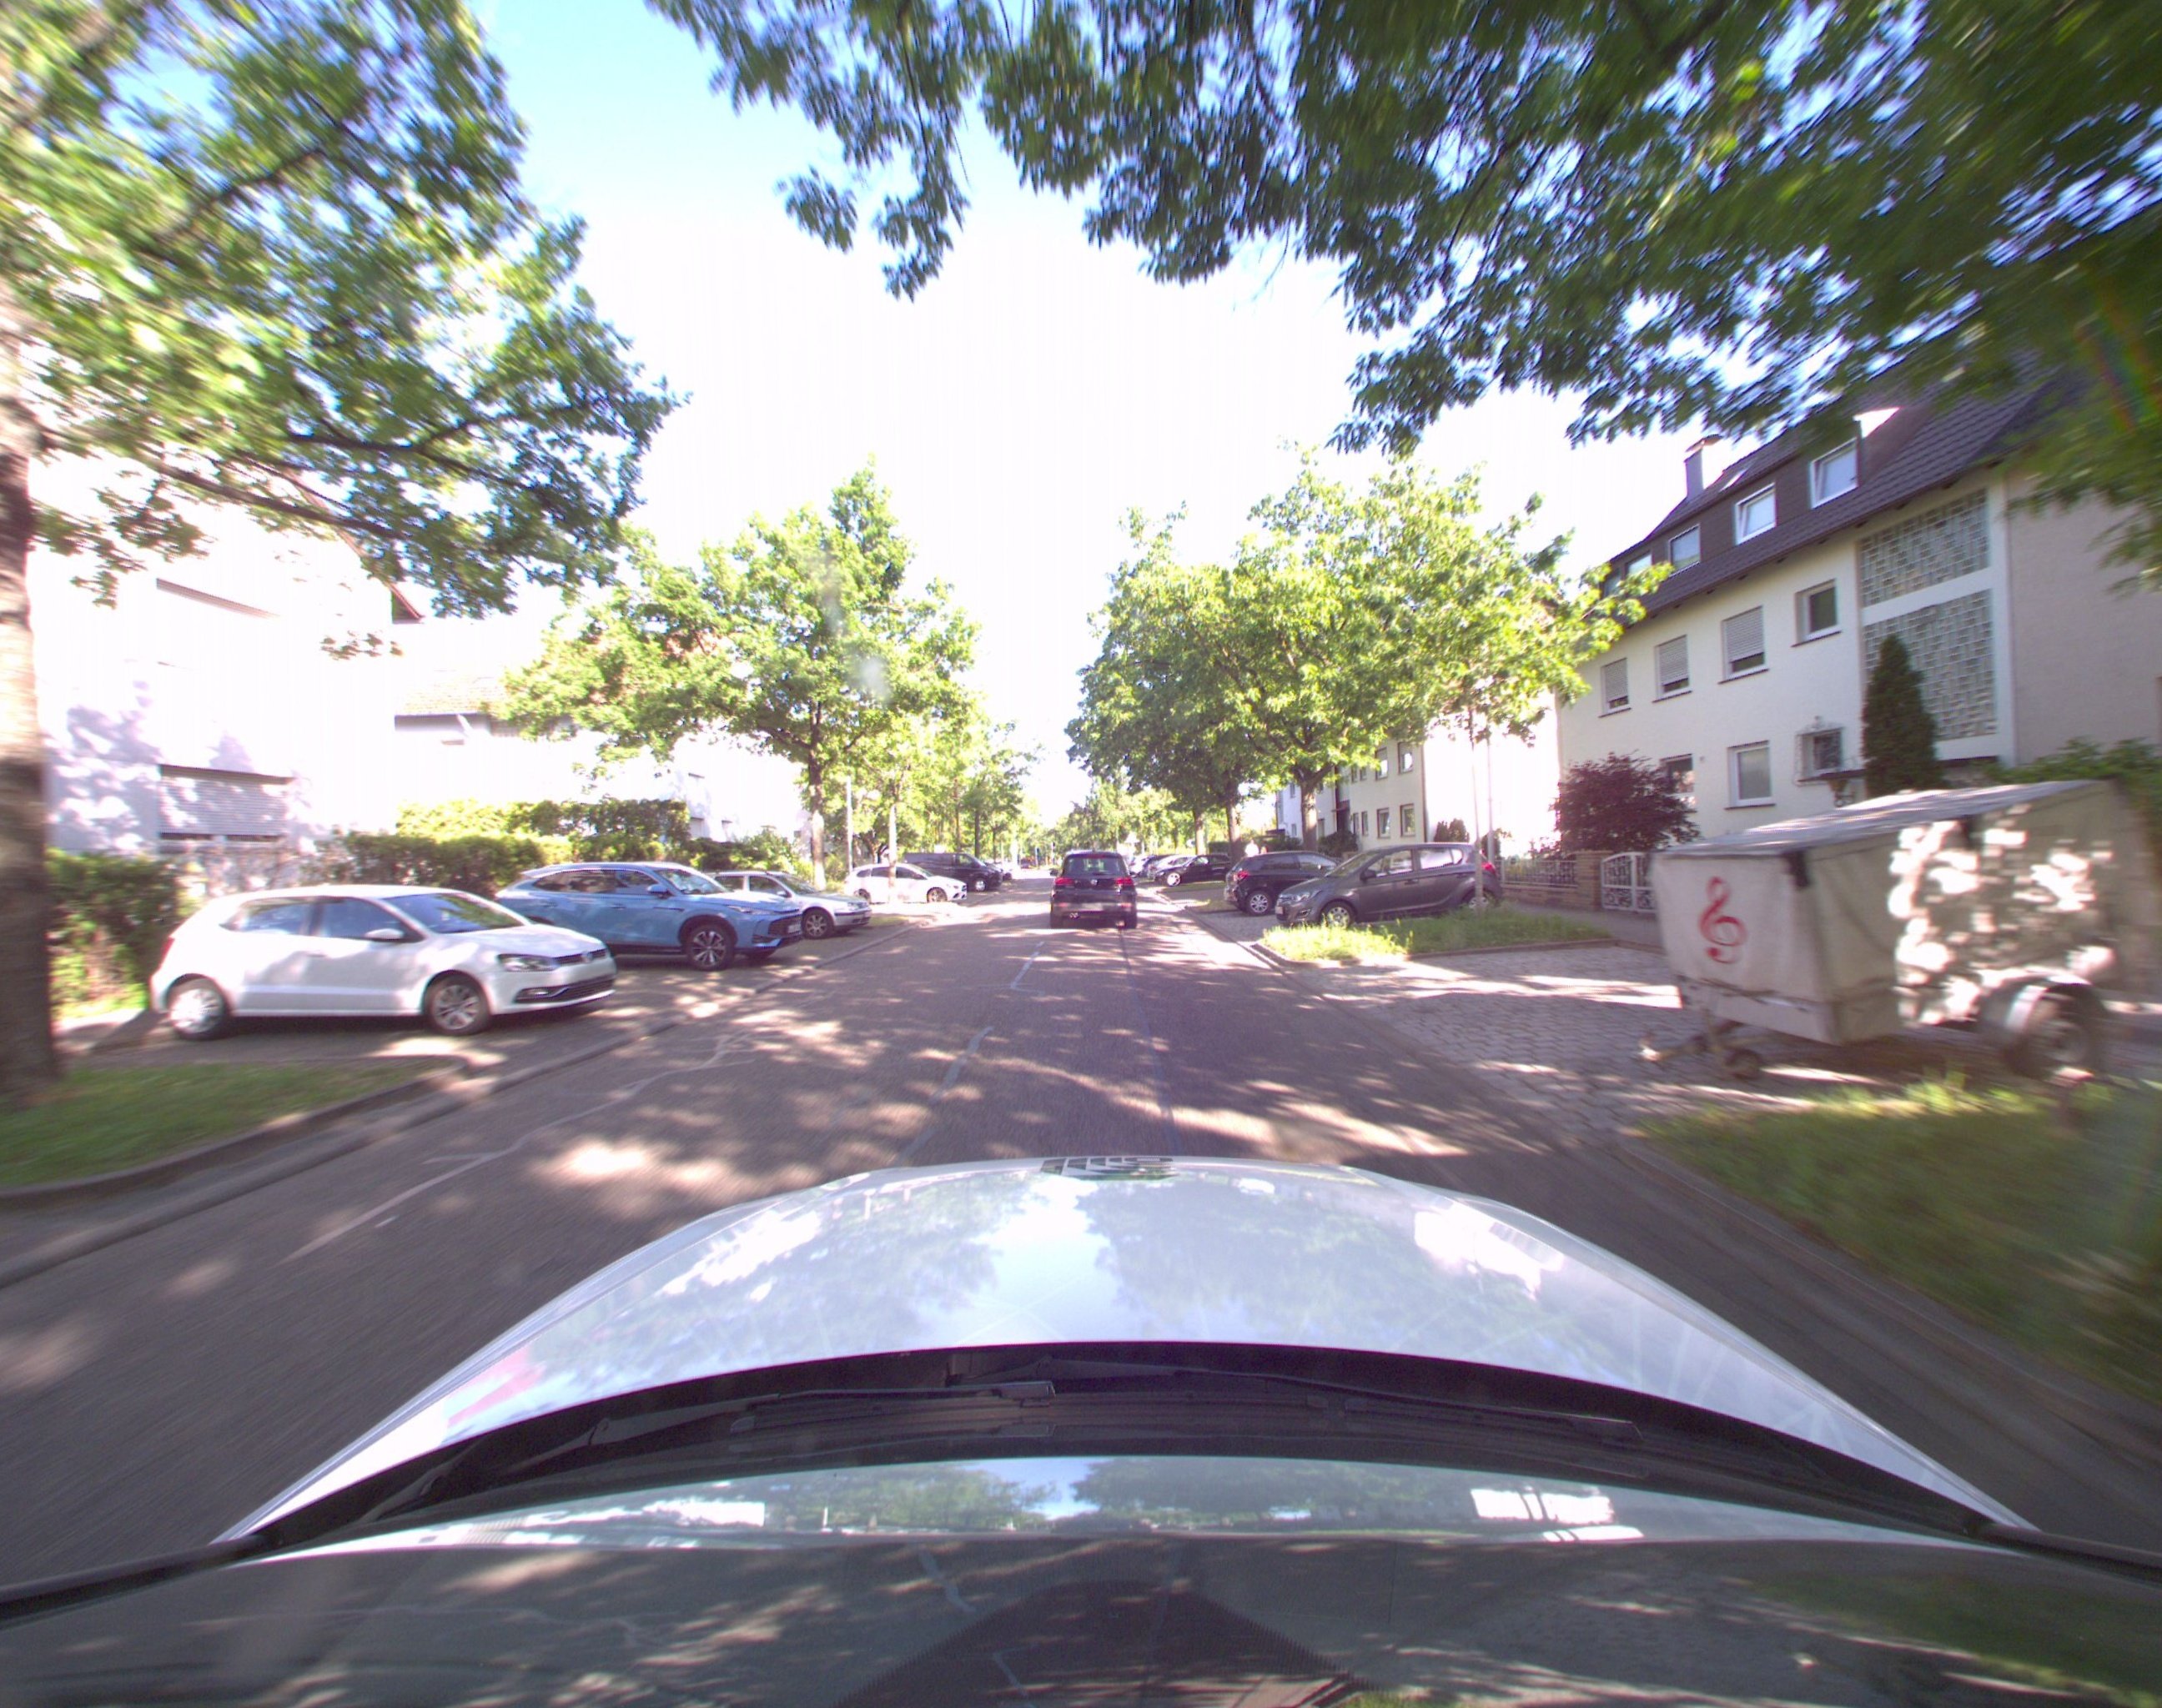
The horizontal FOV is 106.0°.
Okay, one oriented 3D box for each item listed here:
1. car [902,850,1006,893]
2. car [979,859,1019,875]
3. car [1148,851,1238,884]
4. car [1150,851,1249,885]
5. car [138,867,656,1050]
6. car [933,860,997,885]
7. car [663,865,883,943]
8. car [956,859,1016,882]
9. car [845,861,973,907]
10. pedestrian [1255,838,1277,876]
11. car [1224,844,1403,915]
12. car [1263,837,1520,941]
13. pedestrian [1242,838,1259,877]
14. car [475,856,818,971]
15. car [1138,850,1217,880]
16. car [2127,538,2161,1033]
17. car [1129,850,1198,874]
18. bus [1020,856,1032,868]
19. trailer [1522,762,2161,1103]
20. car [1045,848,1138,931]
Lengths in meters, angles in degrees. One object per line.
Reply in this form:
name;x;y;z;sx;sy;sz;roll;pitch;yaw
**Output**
car;-6.215;0.843;40.280;4.765;1.917;2.017;-2;0;-2
car;-8.969;1.428;88.993;4.234;1.623;1.894;-2;-1;-4
car;5.627;0.656;41.242;4.262;1.414;1.797;-3;0;0
car;5.532;0.653;38.440;4.332;1.363;1.873;-3;-1;0
car;-7.072;1.023;8.749;3.972;1.595;1.858;-2;-1;1
car;-7.394;1.183;52.224;3.808;1.419;1.771;-2;0;-2
car;-6.685;1.067;17.945;4.167;1.492;1.647;-2;-1;1
car;-6.417;1.079;55.313;3.844;1.459;1.713;-1;0;0
car;-6.246;1.075;29.924;4.261;1.478;1.769;-2;0;0
pedestrian;9.049;0.165;39.838;0.831;1.828;0.711;-2;-1;2
car;5.577;0.617;19.898;3.868;1.516;1.661;-2;-1;1
car;5.556;0.612;14.909;3.977;1.624;1.756;-2;-1;-2
pedestrian;8.292;0.162;39.843;0.605;1.873;0.924;-2;-1;2
car;-6.859;0.911;13.211;4.507;1.631;1.938;-1;-1;1
car;5.445;0.609;46.207;4.262;1.503;1.797;-3;0;0
car;4.566;0.259;0.576;4.801;2.083;2.087;-4;0;1
car;5.520;0.534;54.931;4.413;1.491;1.797;-2;0;0
bus;-14.760;2.205;218.369;2.922;3.004;5.729;-2;-1;-3
trailer;4.828;0.419;5.318;2.940;1.664;1.612;-4;-1;-5
car;0.333;0.723;18.386;1.830;1.636;3.961;-1;0;3
